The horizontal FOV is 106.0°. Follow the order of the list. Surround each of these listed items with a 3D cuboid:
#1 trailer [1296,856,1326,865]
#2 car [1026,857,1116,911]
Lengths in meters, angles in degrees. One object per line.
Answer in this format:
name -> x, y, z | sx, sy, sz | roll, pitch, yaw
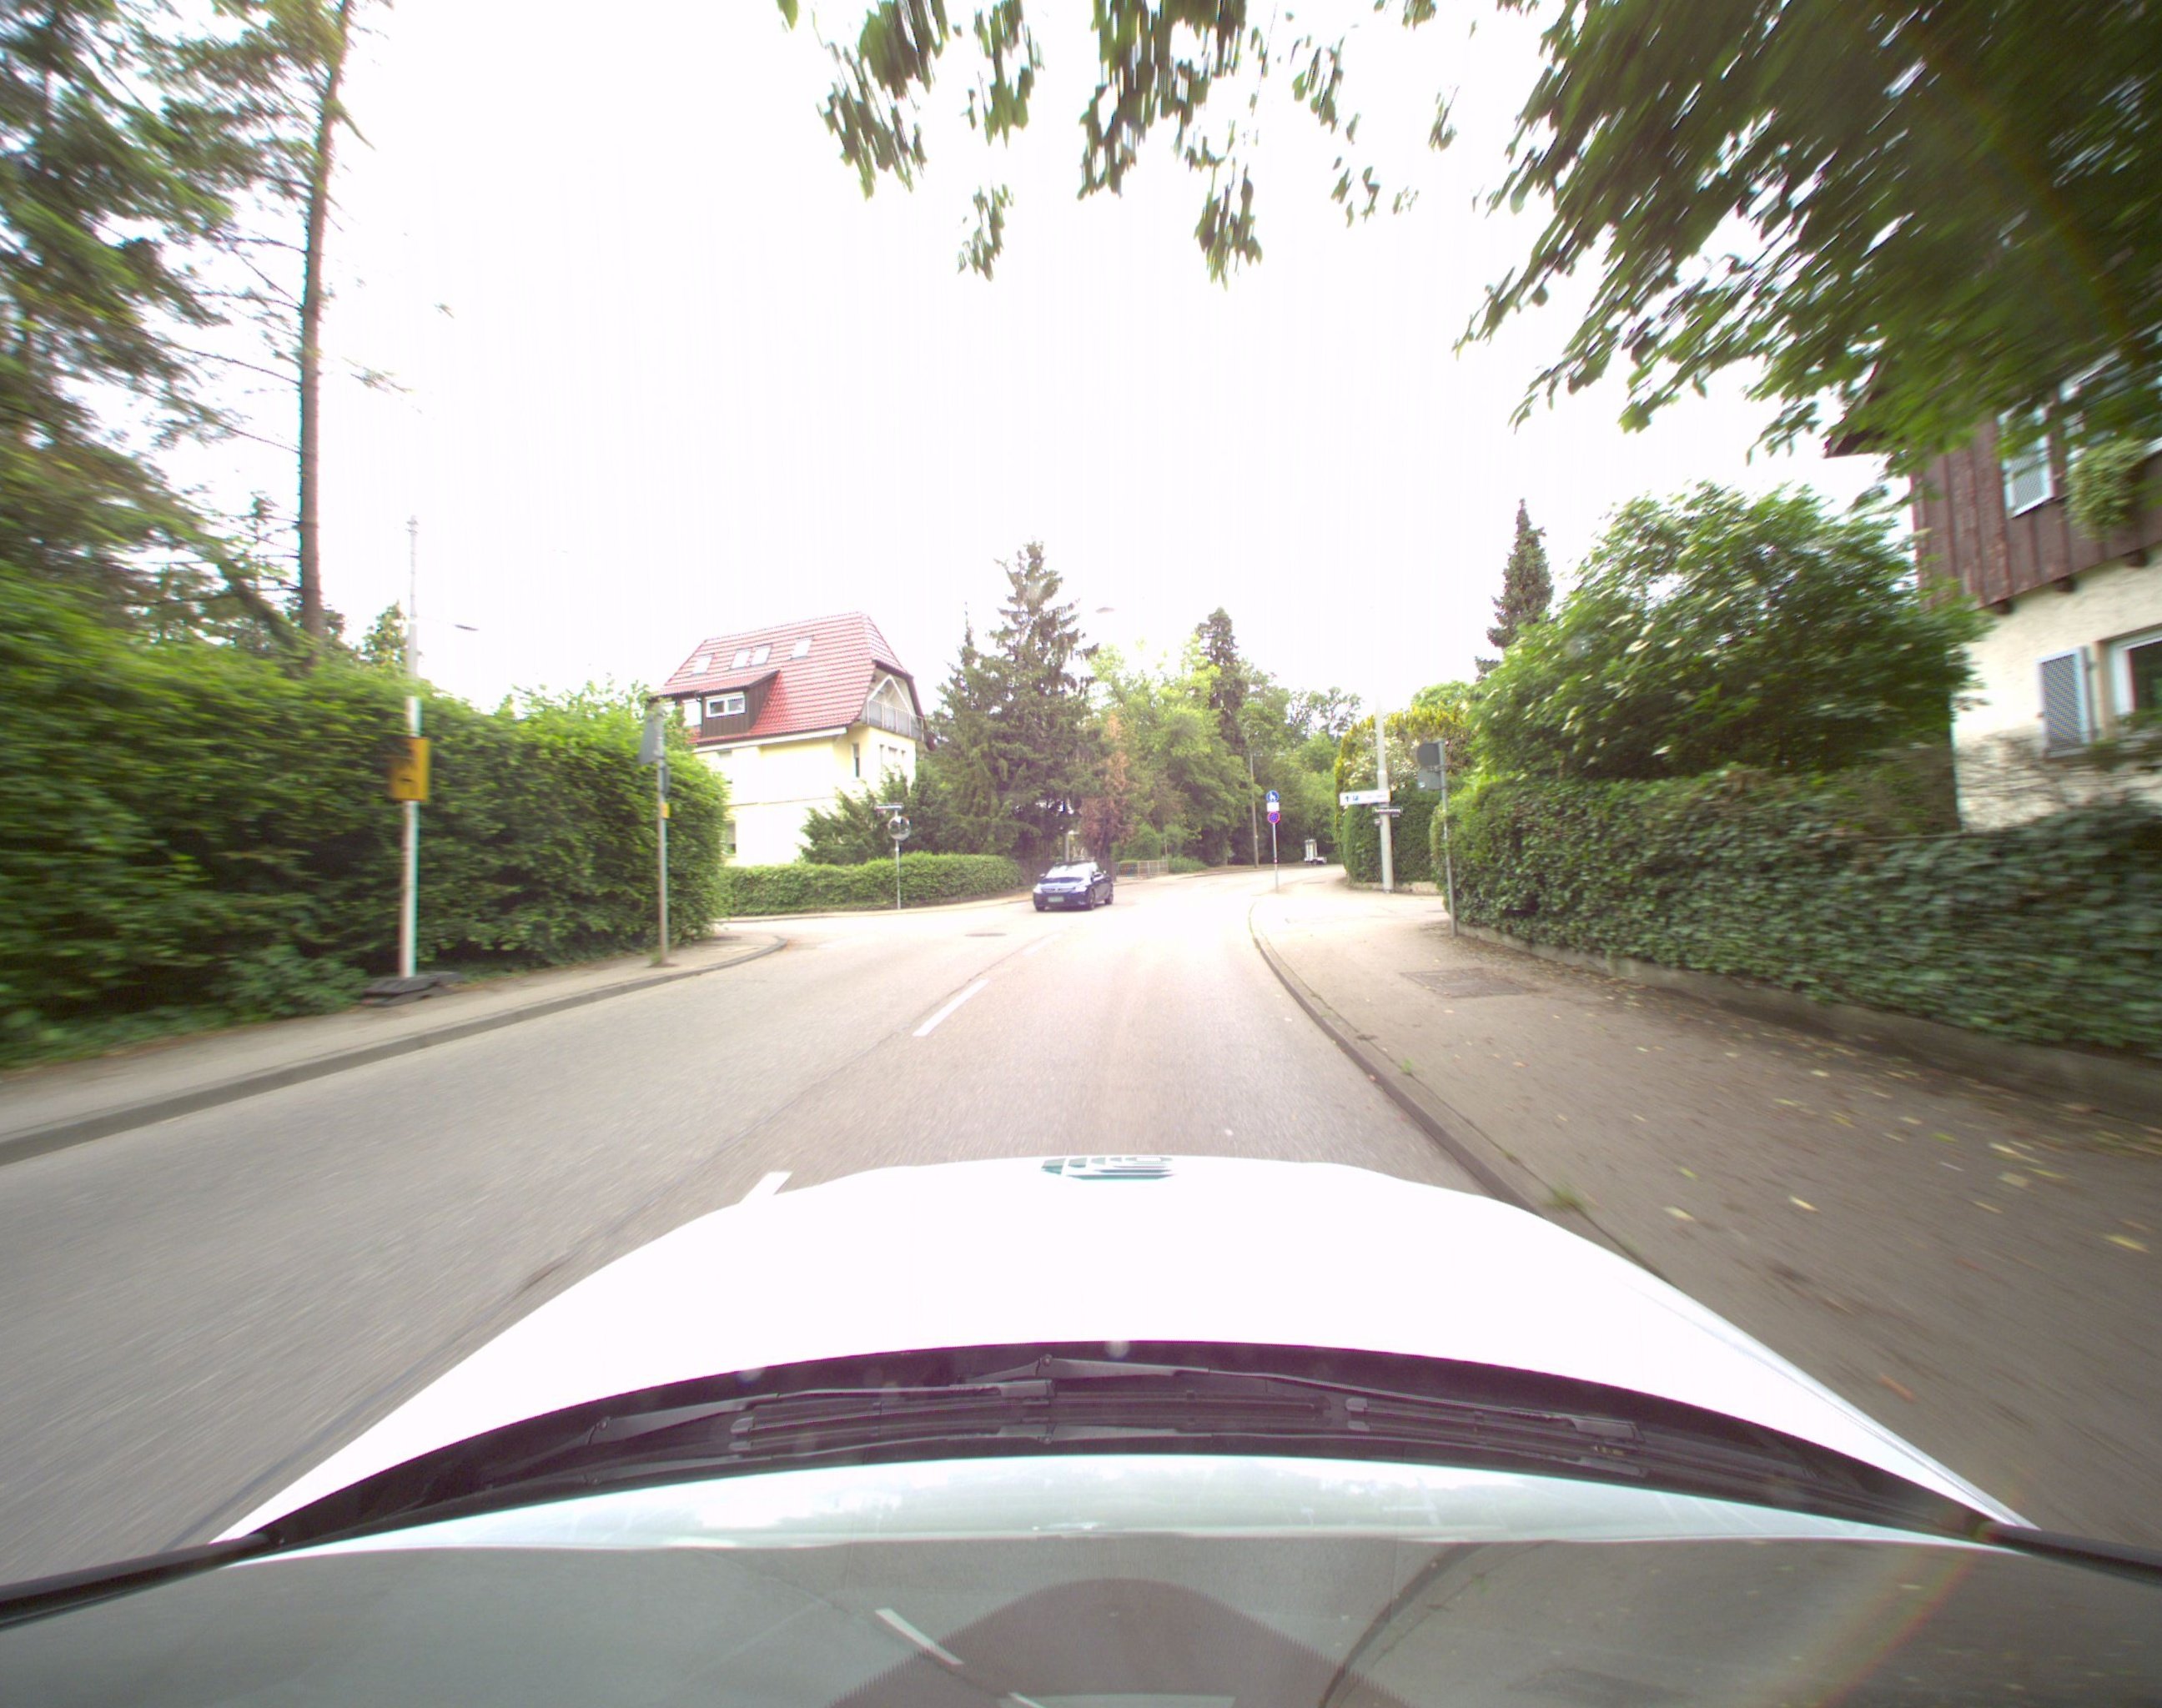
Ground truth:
trailer -> 24.942, 0.744, 88.172 | 2.928, 0.829, 1.484 | -3, -2, 24
car -> -0.204, 0.854, 24.841 | 1.744, 1.439, 4.108 | -2, 0, 14
